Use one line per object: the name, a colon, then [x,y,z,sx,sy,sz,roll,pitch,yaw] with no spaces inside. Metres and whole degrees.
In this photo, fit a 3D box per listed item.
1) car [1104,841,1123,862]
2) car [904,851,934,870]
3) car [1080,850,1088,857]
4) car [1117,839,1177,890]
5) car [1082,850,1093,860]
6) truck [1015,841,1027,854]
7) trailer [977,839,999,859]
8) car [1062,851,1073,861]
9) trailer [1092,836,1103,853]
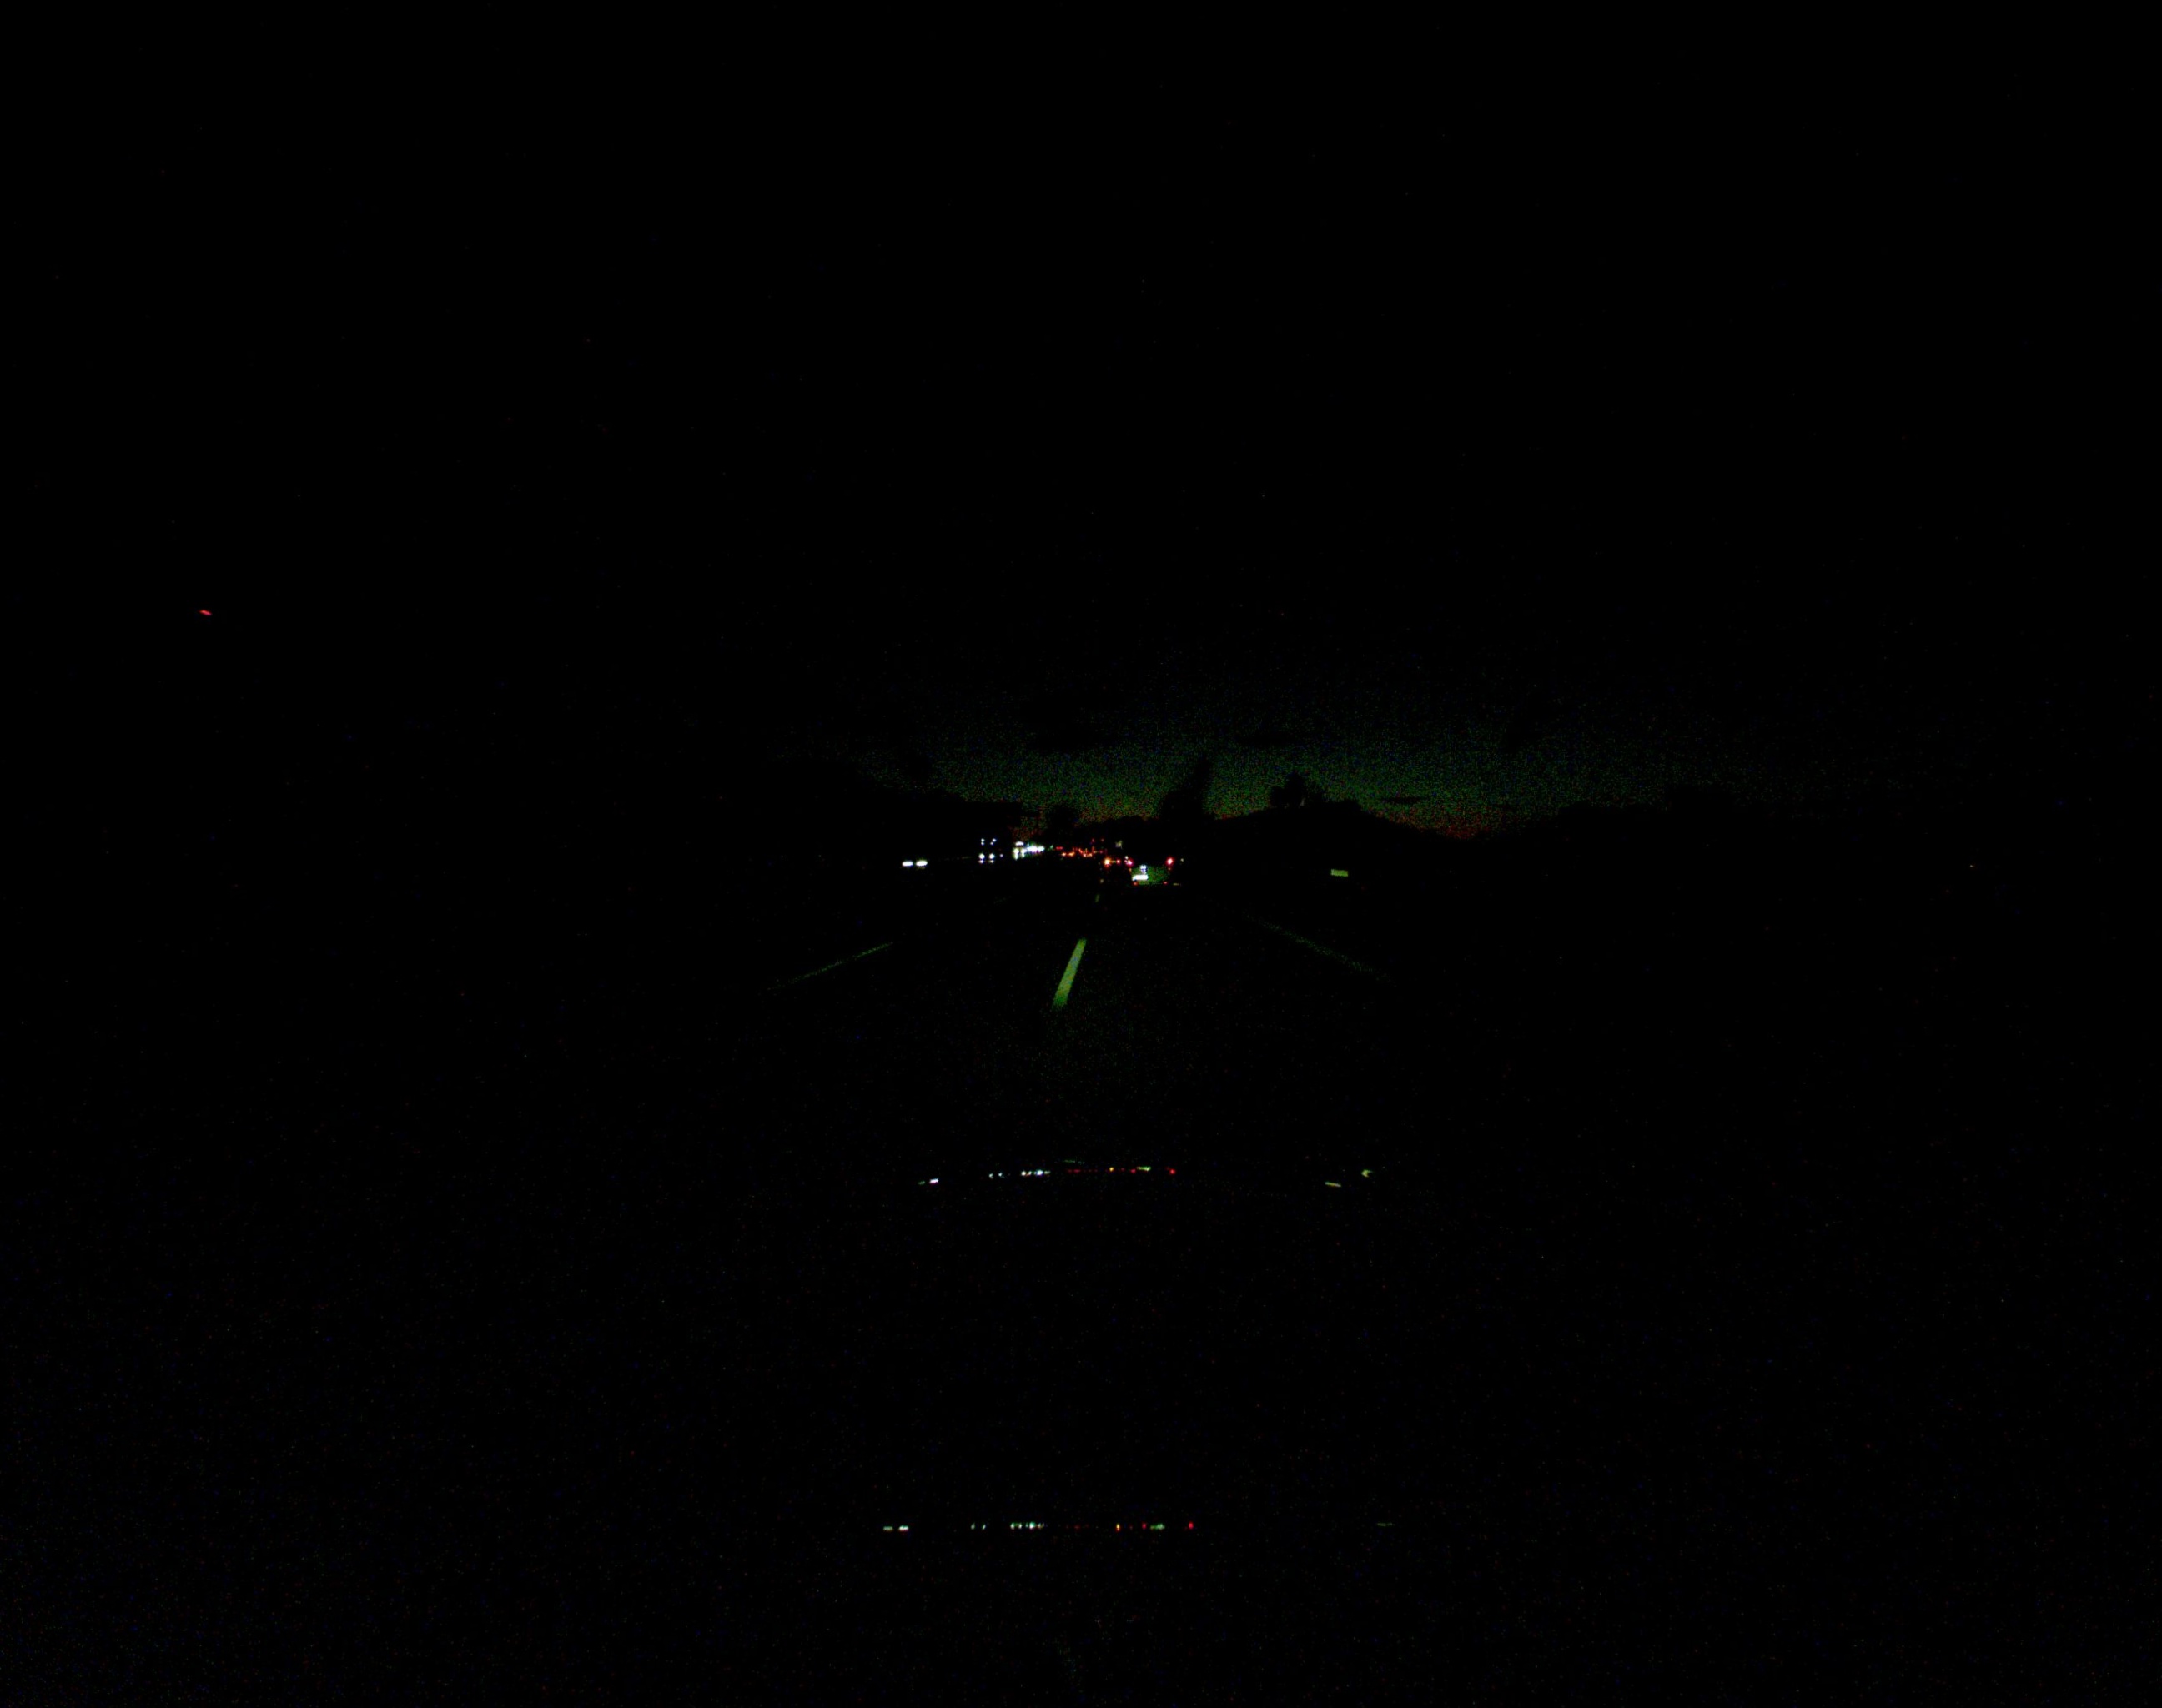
car: [4.204,-0.283,107.066,2.027,2.647,5.720,-1,0,-2]
car: [-15.232,0.667,76.755,1.816,1.694,4.674,-1,-1,1]
car: [0.813,-0.176,211.859,1.987,1.794,4.000,-1,-1,1]
car: [2.755,0.408,35.192,2.108,2.001,5.663,-1,0,0]
car: [1.346,0.236,165.054,1.990,1.794,3.994,-1,-1,-4]
truck: [-18.713,-1.880,254.133,3.420,3.980,6.205,-1,0,-1]
trailer: [-18.573,-0.986,162.455,3.418,3.980,7.353,-1,0,1]
car: [-2.584,0.388,154.136,1.987,1.816,3.999,-1,-1,0]
trailer: [4.706,-2.728,232.797,2.820,4.257,17.046,-1,-1,0]
